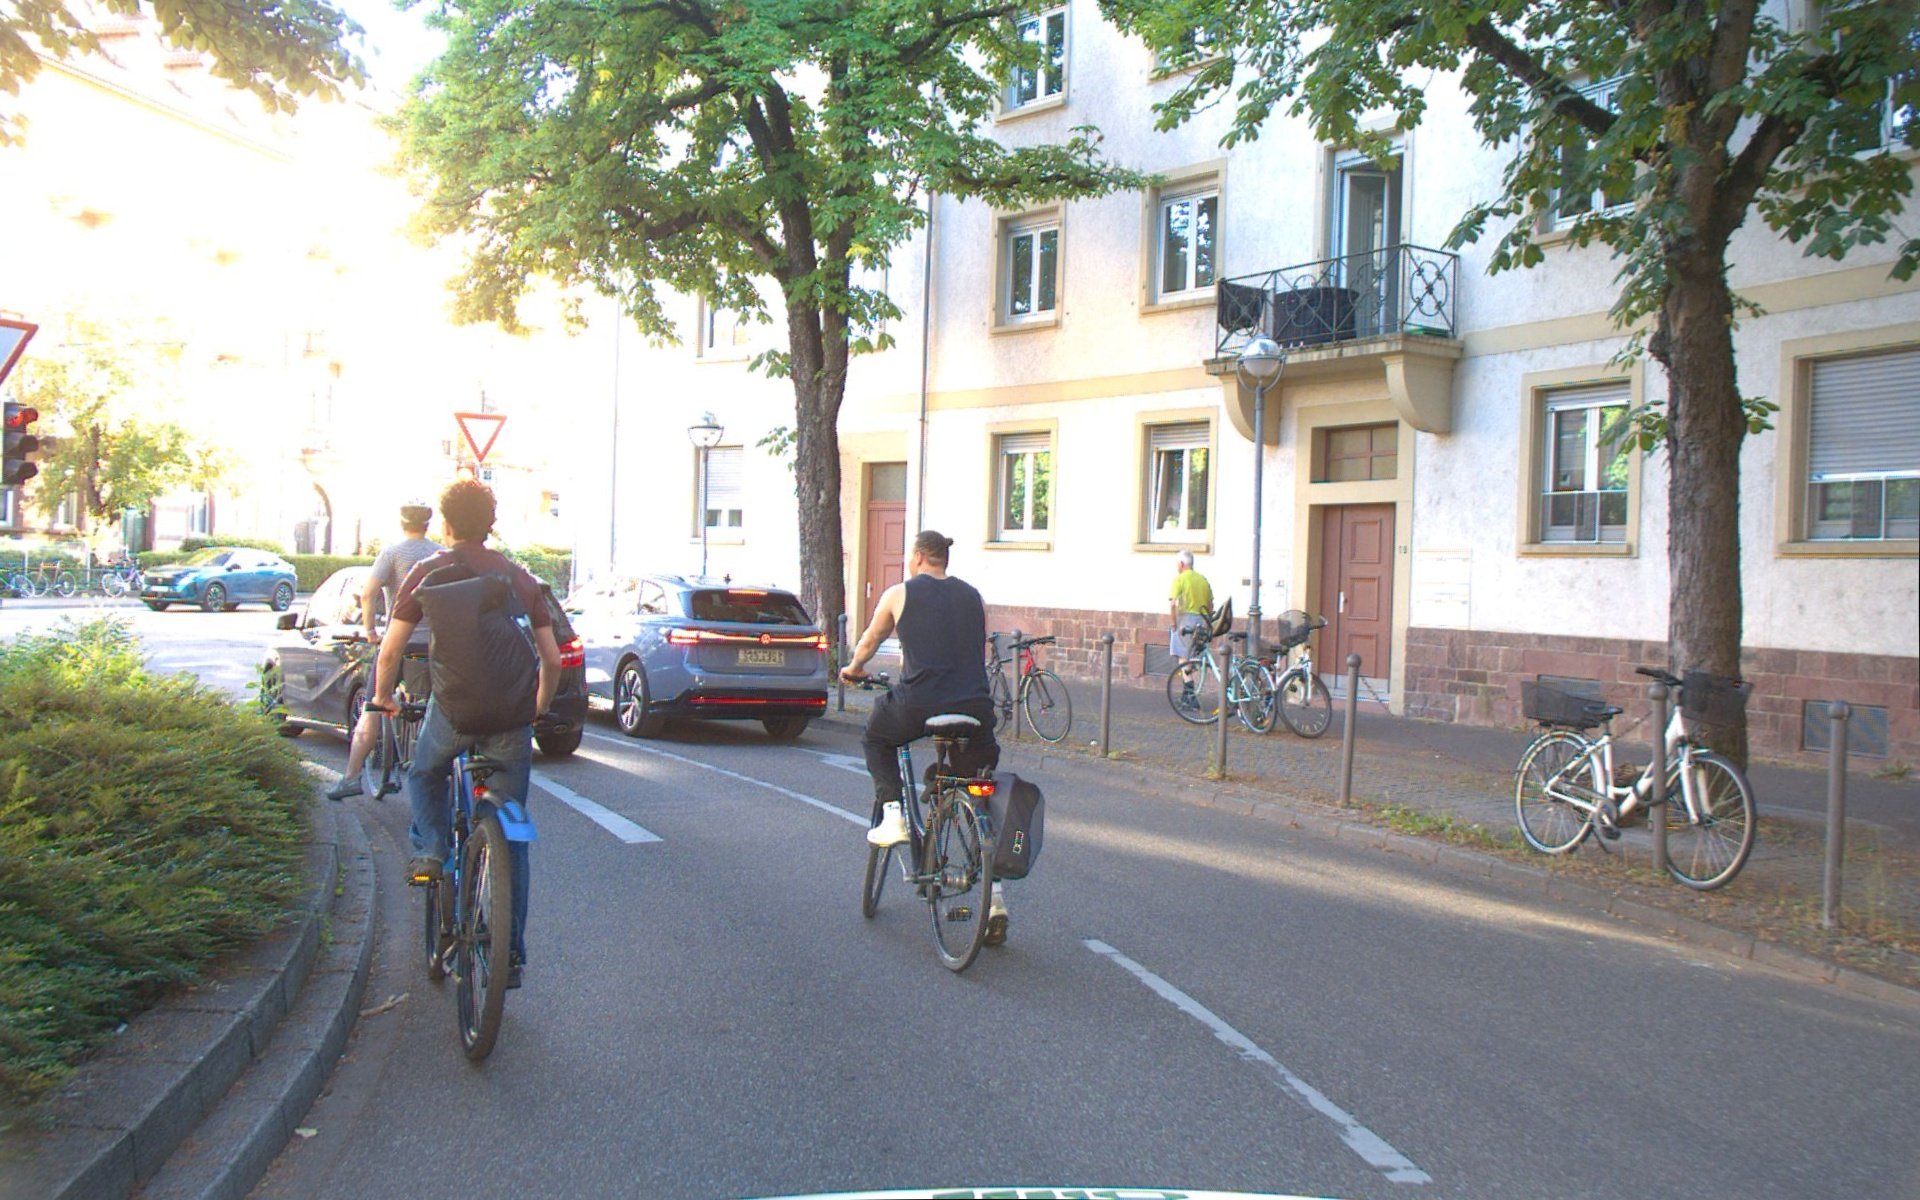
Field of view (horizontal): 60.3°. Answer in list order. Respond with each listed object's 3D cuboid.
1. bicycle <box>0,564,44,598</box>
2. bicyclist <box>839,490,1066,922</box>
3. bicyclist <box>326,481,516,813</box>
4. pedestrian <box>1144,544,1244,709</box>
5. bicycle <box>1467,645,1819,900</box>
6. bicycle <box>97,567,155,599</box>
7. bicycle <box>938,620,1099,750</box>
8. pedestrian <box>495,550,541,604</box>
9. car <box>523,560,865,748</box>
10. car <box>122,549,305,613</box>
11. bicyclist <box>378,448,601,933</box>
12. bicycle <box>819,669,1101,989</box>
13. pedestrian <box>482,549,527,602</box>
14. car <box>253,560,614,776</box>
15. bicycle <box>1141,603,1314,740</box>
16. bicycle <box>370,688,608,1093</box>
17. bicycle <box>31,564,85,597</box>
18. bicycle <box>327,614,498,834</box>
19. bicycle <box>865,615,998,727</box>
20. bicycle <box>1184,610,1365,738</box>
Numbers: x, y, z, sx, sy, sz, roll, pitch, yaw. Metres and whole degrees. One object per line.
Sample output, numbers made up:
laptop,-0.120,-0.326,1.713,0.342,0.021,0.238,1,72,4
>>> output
bicycle,-25.019,-0.493,43.819,0.441,0.876,1.221,2,0,31
bicyclist,-0.057,0.422,7.089,0.739,1.711,0.910,2,1,-14
bicyclist,-3.385,0.264,10.347,0.842,1.931,1.127,1,1,-33
pedestrian,2.674,0.282,18.856,0.990,1.826,0.649,-1,2,-44
bicycle,3.701,0.878,9.163,0.607,1.132,1.979,-2,2,-21
bicycle,-23.817,-0.473,47.266,0.441,0.876,1.443,2,0,30
bicycle,0.526,0.767,15.726,0.609,1.076,1.909,0,2,-30
pedestrian,-16.938,-0.886,63.449,1.133,1.996,1.388,2,0,11
car,-2.783,0.451,16.593,1.875,1.605,3.952,2,1,-34
car,-19.435,-0.488,43.297,1.951,1.522,4.377,2,1,16
bicyclist,-1.693,0.286,5.867,0.662,1.541,1.062,1,0,-20
bicycle,-0.078,0.889,7.148,0.725,1.029,2.054,2,1,-14
pedestrian,-17.741,-0.950,64.465,1.133,1.996,1.388,2,0,11
car,-4.617,0.453,14.163,1.799,1.570,3.907,-1,1,-36
bicycle,2.585,0.662,16.233,0.489,1.192,2.097,-2,2,-29
bicycle,-1.715,0.901,5.886,0.664,1.072,2.050,1,0,-19
bicycle,-24.479,-0.521,44.897,0.441,0.876,1.221,2,0,31
bicycle,-3.500,0.723,10.463,0.591,1.182,2.021,2,1,-30
bicycle,-0.330,0.700,17.058,0.513,1.016,2.174,2,1,-25
bicycle,3.100,0.698,16.523,0.575,1.133,2.098,1,1,-28
